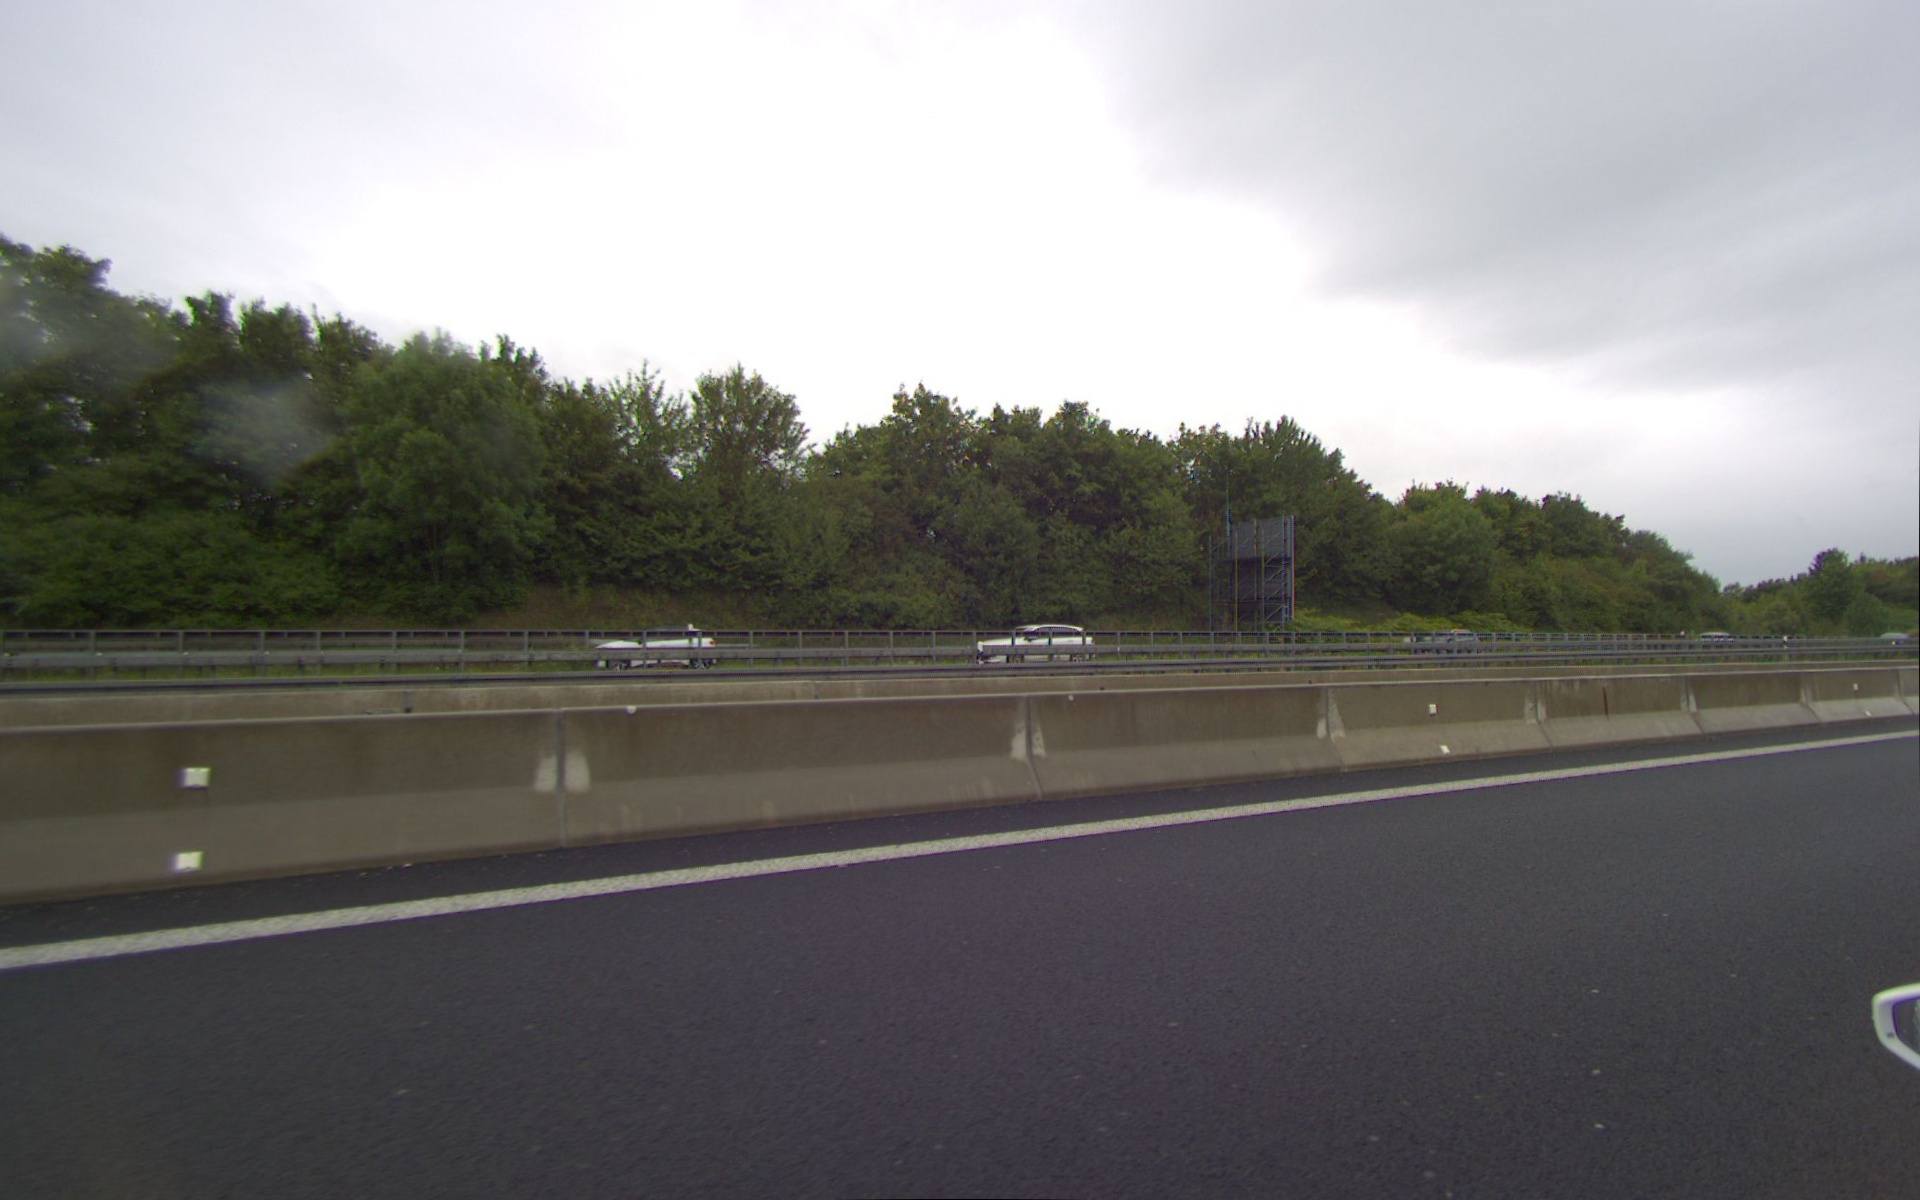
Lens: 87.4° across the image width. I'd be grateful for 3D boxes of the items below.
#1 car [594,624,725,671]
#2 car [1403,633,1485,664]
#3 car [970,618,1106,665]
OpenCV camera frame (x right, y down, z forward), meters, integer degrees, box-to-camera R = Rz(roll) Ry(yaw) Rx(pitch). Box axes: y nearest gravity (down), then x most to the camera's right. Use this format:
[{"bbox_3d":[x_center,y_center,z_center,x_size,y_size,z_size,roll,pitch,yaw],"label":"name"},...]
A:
[{"bbox_3d":[-10.166,1.604,34.059,3.953,1.475,1.668,2,0,-30],"label":"car"},{"bbox_3d":[25.636,2.549,53.148,4.425,1.513,1.809,2,0,-31],"label":"car"},{"bbox_3d":[2.712,1.430,34.549,4.582,1.475,1.666,2,0,-32],"label":"car"}]
